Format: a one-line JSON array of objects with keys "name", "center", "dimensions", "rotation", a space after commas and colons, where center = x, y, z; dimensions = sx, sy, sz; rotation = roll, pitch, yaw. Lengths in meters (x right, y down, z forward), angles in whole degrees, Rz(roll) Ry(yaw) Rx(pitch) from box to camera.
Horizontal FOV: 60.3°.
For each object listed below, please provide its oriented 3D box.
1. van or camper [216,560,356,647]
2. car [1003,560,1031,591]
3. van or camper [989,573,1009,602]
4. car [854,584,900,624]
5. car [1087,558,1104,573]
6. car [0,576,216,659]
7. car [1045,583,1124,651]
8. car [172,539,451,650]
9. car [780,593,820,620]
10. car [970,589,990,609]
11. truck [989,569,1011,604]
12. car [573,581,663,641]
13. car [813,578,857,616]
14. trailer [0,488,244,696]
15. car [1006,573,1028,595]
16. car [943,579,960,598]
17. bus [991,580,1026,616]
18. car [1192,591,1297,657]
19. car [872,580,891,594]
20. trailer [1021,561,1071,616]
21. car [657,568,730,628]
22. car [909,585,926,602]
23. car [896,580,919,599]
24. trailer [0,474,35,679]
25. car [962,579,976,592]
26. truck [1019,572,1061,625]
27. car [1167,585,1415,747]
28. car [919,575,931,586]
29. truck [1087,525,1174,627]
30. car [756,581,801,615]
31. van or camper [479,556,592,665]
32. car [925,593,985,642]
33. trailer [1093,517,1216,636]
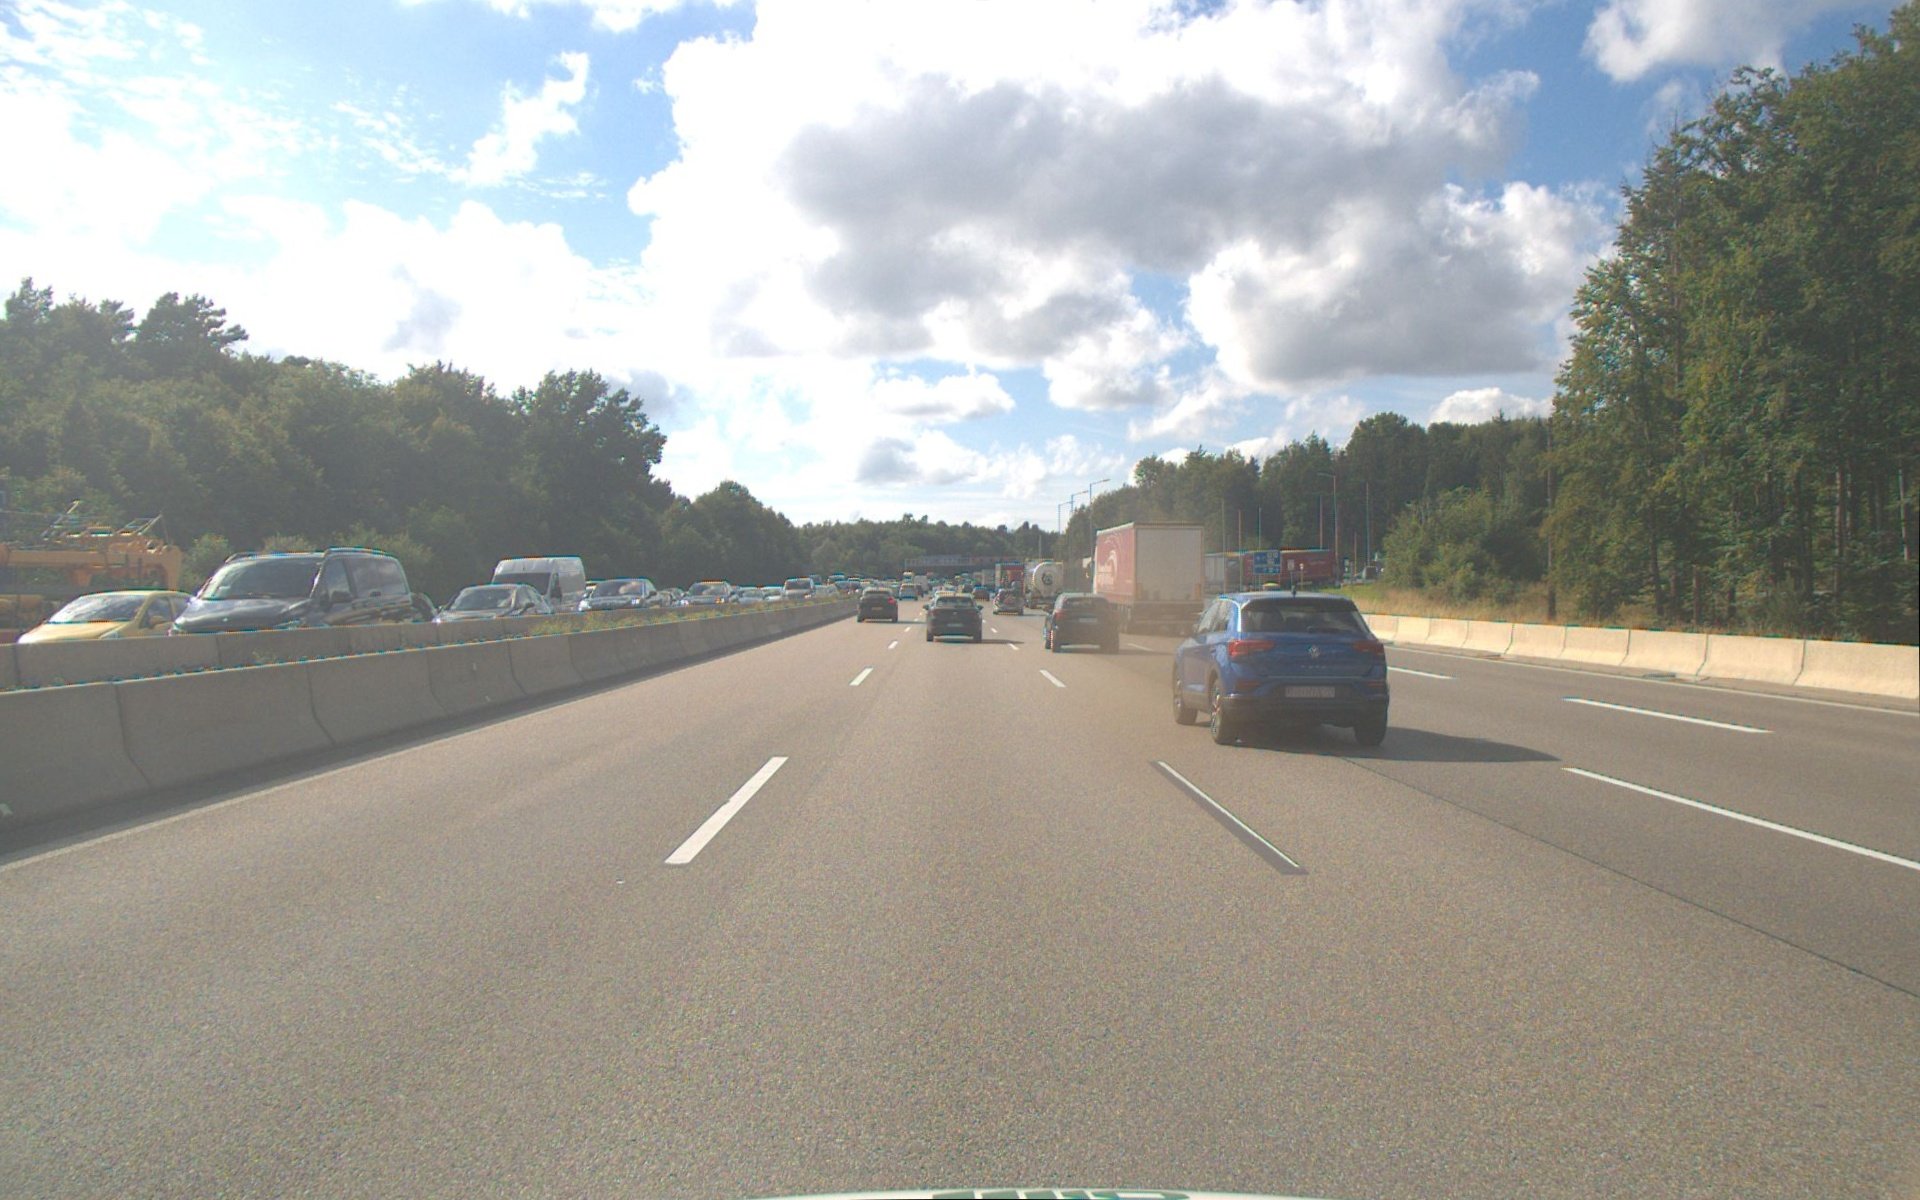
[{"name": "van or camper", "center": [-25.449, 0.123, 62.821], "dimensions": [2.520, 3.131, 7.193], "rotation": [0, 0, -2]}, {"name": "car", "center": [5.971, -2.539, 173.991], "dimensions": [2.807, 3.044, 5.149], "rotation": [1, -1, 1]}, {"name": "van or camper", "center": [4.650, -1.466, 198.059], "dimensions": [2.303, 3.199, 5.710], "rotation": [1, -1, 1]}, {"name": "car", "center": [-3.916, 0.187, 78.295], "dimensions": [1.953, 1.807, 4.000], "rotation": [1, 0, 0]}, {"name": "car", "center": [18.397, -4.690, 225.243], "dimensions": [1.953, 2.049, 3.999], "rotation": [-1, 0, -1]}, {"name": "car", "center": [-13.151, 0.241, 25.559], "dimensions": [1.553, 1.146, 3.999], "rotation": [1, 0, -2]}, {"name": "car", "center": [3.269, 0.446, 43.959], "dimensions": [1.762, 1.673, 4.000], "rotation": [1, 0, 0]}, {"name": "car", "center": [-9.270, -0.080, 24.323], "dimensions": [1.778, 1.372, 6.231], "rotation": [1, 0, -2]}, {"name": "car", "center": [-10.046, 0.389, 104.127], "dimensions": [1.952, 1.600, 4.816], "rotation": [1, 1, 1]}, {"name": "car", "center": [2.011, -0.097, 169.885], "dimensions": [1.953, 2.049, 3.999], "rotation": [1, 0, -1]}, {"name": "truck", "center": [4.569, -1.507, 191.341], "dimensions": [2.309, 3.635, 11.266], "rotation": [1, -1, 1]}, {"name": "car", "center": [-9.915, 0.304, 48.242], "dimensions": [1.799, 1.619, 4.288], "rotation": [1, 0, -2]}, {"name": "car", "center": [-6.634, -0.174, 88.356], "dimensions": [1.952, 1.954, 4.001], "rotation": [1, 1, 1]}, {"name": "trailer", "center": [-17.037, -0.179, 29.516], "dimensions": [2.673, 3.394, 14.216], "rotation": [1, 1, -2]}, {"name": "car", "center": [5.650, -1.598, 164.281], "dimensions": [1.953, 2.049, 3.999], "rotation": [1, -1, -1]}, {"name": "car", "center": [-0.991, -1.307, 188.551], "dimensions": [1.953, 2.049, 3.999], "rotation": [-1, -1, -1]}, {"name": "bus", "center": [2.956, -0.096, 101.363], "dimensions": [1.953, 2.049, 3.999], "rotation": [1, -1, 0]}, {"name": "car", "center": [6.981, 0.583, 40.979], "dimensions": [1.681, 1.538, 4.299], "rotation": [0, 0, -3]}, {"name": "car", "center": [-9.618, -1.591, 202.261], "dimensions": [1.953, 1.600, 5.329], "rotation": [2, 1, 1]}, {"name": "trailer", "center": [6.577, -0.810, 128.386], "dimensions": [2.974, 4.086, 12.242], "rotation": [0, -1, -1]}, {"name": "car", "center": [-9.647, -0.091, 60.224], "dimensions": [1.844, 2.049, 4.519], "rotation": [1, 0, 1]}, {"name": "car", "center": [-5.051, -0.761, 198.938], "dimensions": [1.953, 2.049, 3.999], "rotation": [1, 0, -1]}, {"name": "car", "center": [-5.382, -1.060, 169.974], "dimensions": [2.110, 1.807, 3.999], "rotation": [1, 0, 0]}, {"name": "trailer", "center": [-20.907, -0.460, 27.854], "dimensions": [2.752, 4.191, 14.041], "rotation": [1, 0, 0]}, {"name": "car", "center": [1.399, -2.256, 257.823], "dimensions": [1.953, 2.049, 3.999], "rotation": [1, 0, -1]}, {"name": "truck", "center": [6.509, -0.105, 134.874], "dimensions": [2.983, 4.233, 7.125], "rotation": [0, 0, -1]}, {"name": "car", "center": [3.516, 0.647, 18.430], "dimensions": [1.884, 1.568, 4.645], "rotation": [0, 0, 1]}, {"name": "car", "center": [-5.069, -2.777, 239.041], "dimensions": [1.590, 1.496, 3.814], "rotation": [2, 0, 0]}, {"name": "truck", "center": [7.270, -0.935, 71.309], "dimensions": [3.017, 4.135, 6.068], "rotation": [1, -1, -1]}, {"name": "car", "center": [-9.981, -0.108, 91.498], "dimensions": [1.953, 1.766, 5.090], "rotation": [1, 0, -1]}, {"name": "van or camper", "center": [-13.438, 0.298, 52.799], "dimensions": [2.095, 3.228, 6.243], "rotation": [1, 0, -2]}, {"name": "car", "center": [-0.194, 0.519, 51.742], "dimensions": [1.699, 1.388, 3.999], "rotation": [1, 1, -2]}, {"name": "trailer", "center": [7.331, -0.681, 64.604], "dimensions": [2.976, 4.106, 13.886], "rotation": [1, -1, -1]}]
